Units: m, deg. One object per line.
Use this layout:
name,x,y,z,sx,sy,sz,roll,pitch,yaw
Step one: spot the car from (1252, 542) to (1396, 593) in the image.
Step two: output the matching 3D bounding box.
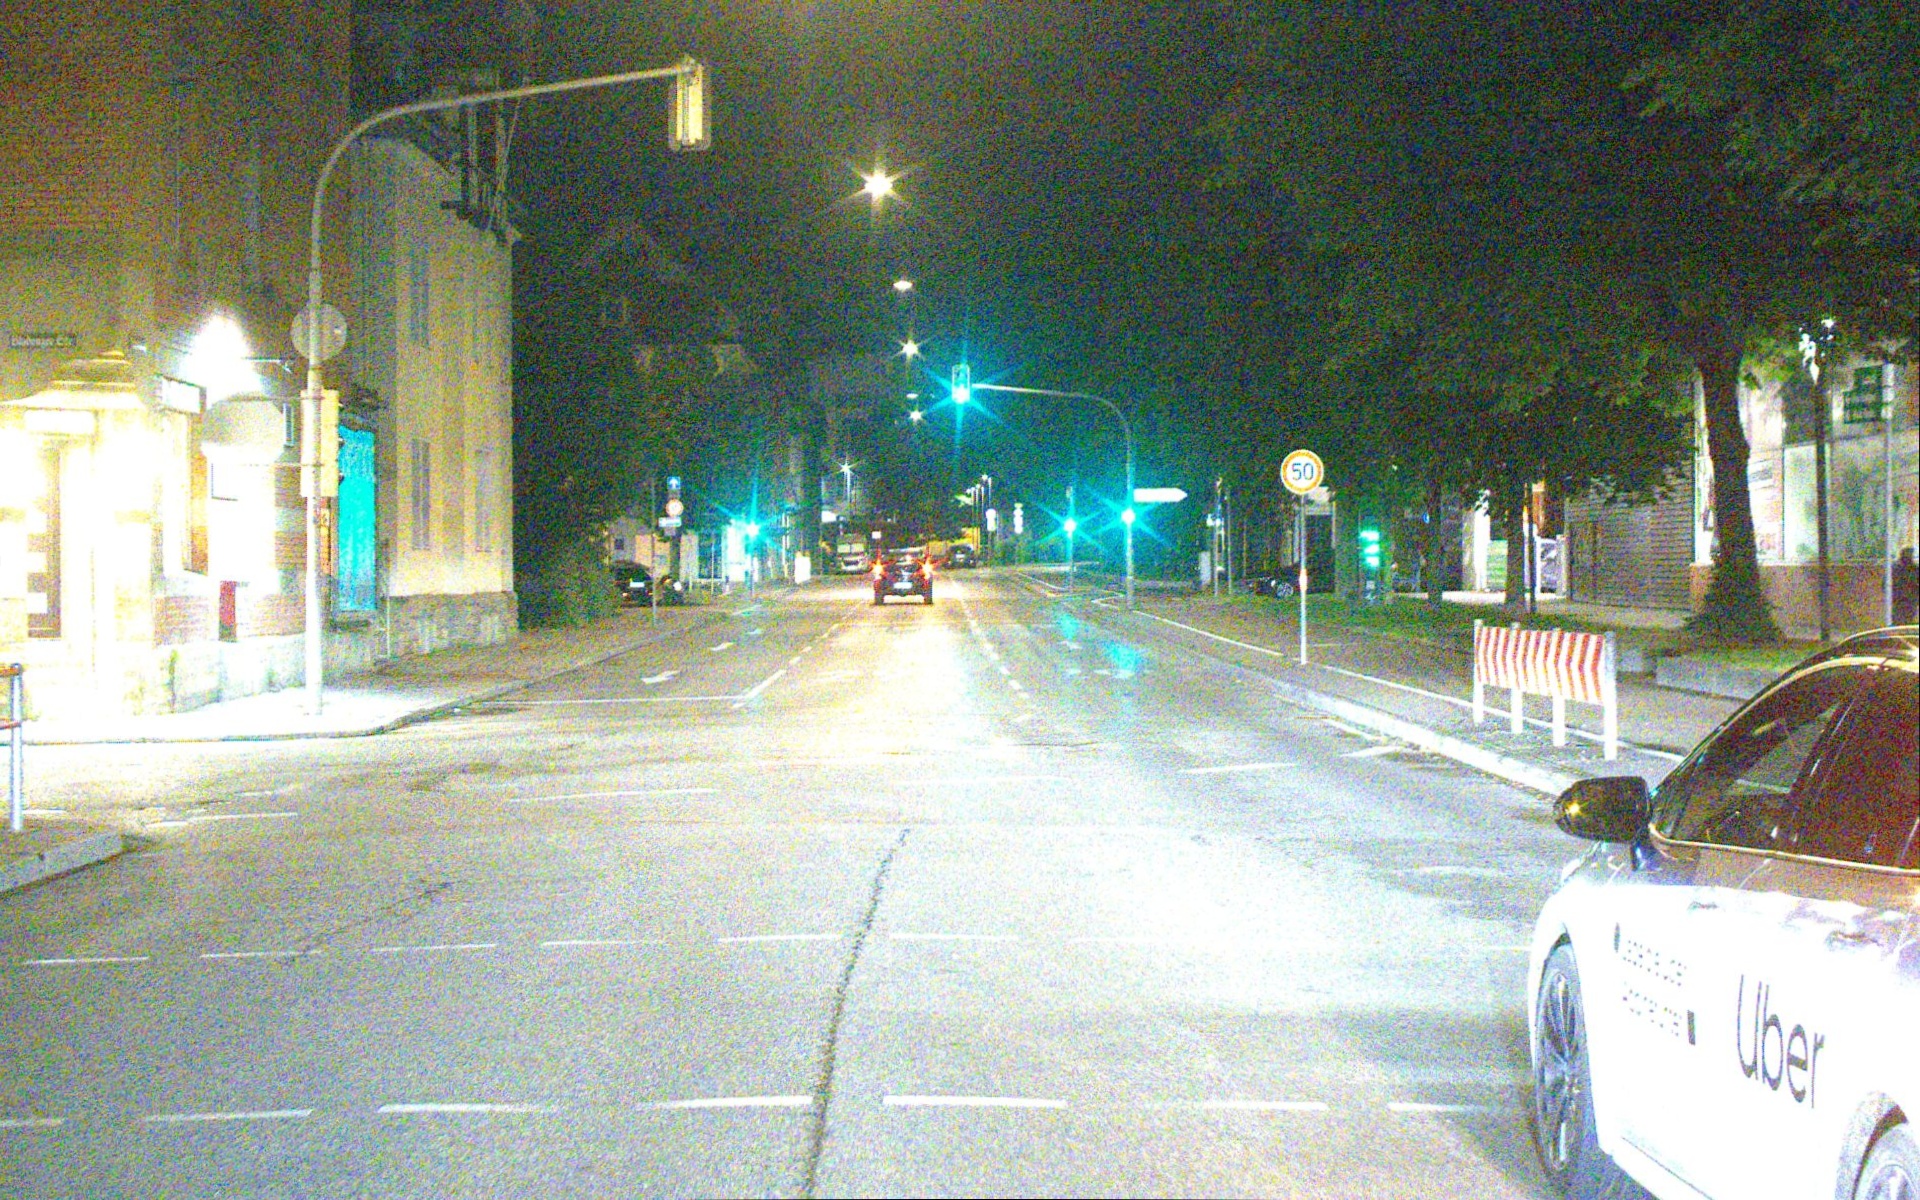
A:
car,10.412,-0.925,98.551,3.987,1.382,1.771,-1,1,2

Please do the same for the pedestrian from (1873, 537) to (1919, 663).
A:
pedestrian,13.468,-0.014,48.816,0.714,1.763,0.907,-1,1,-1

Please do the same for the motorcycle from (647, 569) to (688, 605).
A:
motorcycle,-9.977,-0.437,117.114,0.781,1.200,2.450,-1,1,-19

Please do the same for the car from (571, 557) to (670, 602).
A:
car,-11.874,-0.718,119.995,1.803,1.481,4.000,-2,1,-32

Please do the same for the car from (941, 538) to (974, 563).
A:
car,-0.170,-3.235,225.675,1.993,1.590,4.001,-1,1,-3

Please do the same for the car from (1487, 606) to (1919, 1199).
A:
car,2.281,0.774,6.596,1.729,1.430,4.211,1,1,-2

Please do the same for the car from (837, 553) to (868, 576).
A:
car,-6.613,-2.203,211.124,1.777,1.385,4.001,-1,1,-2

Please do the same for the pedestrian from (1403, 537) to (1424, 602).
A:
pedestrian,14.105,-0.951,106.936,0.531,2.007,0.670,-1,0,-1

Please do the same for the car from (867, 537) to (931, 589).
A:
car,-2.024,-1.200,112.489,1.993,1.634,4.000,-1,0,-2
